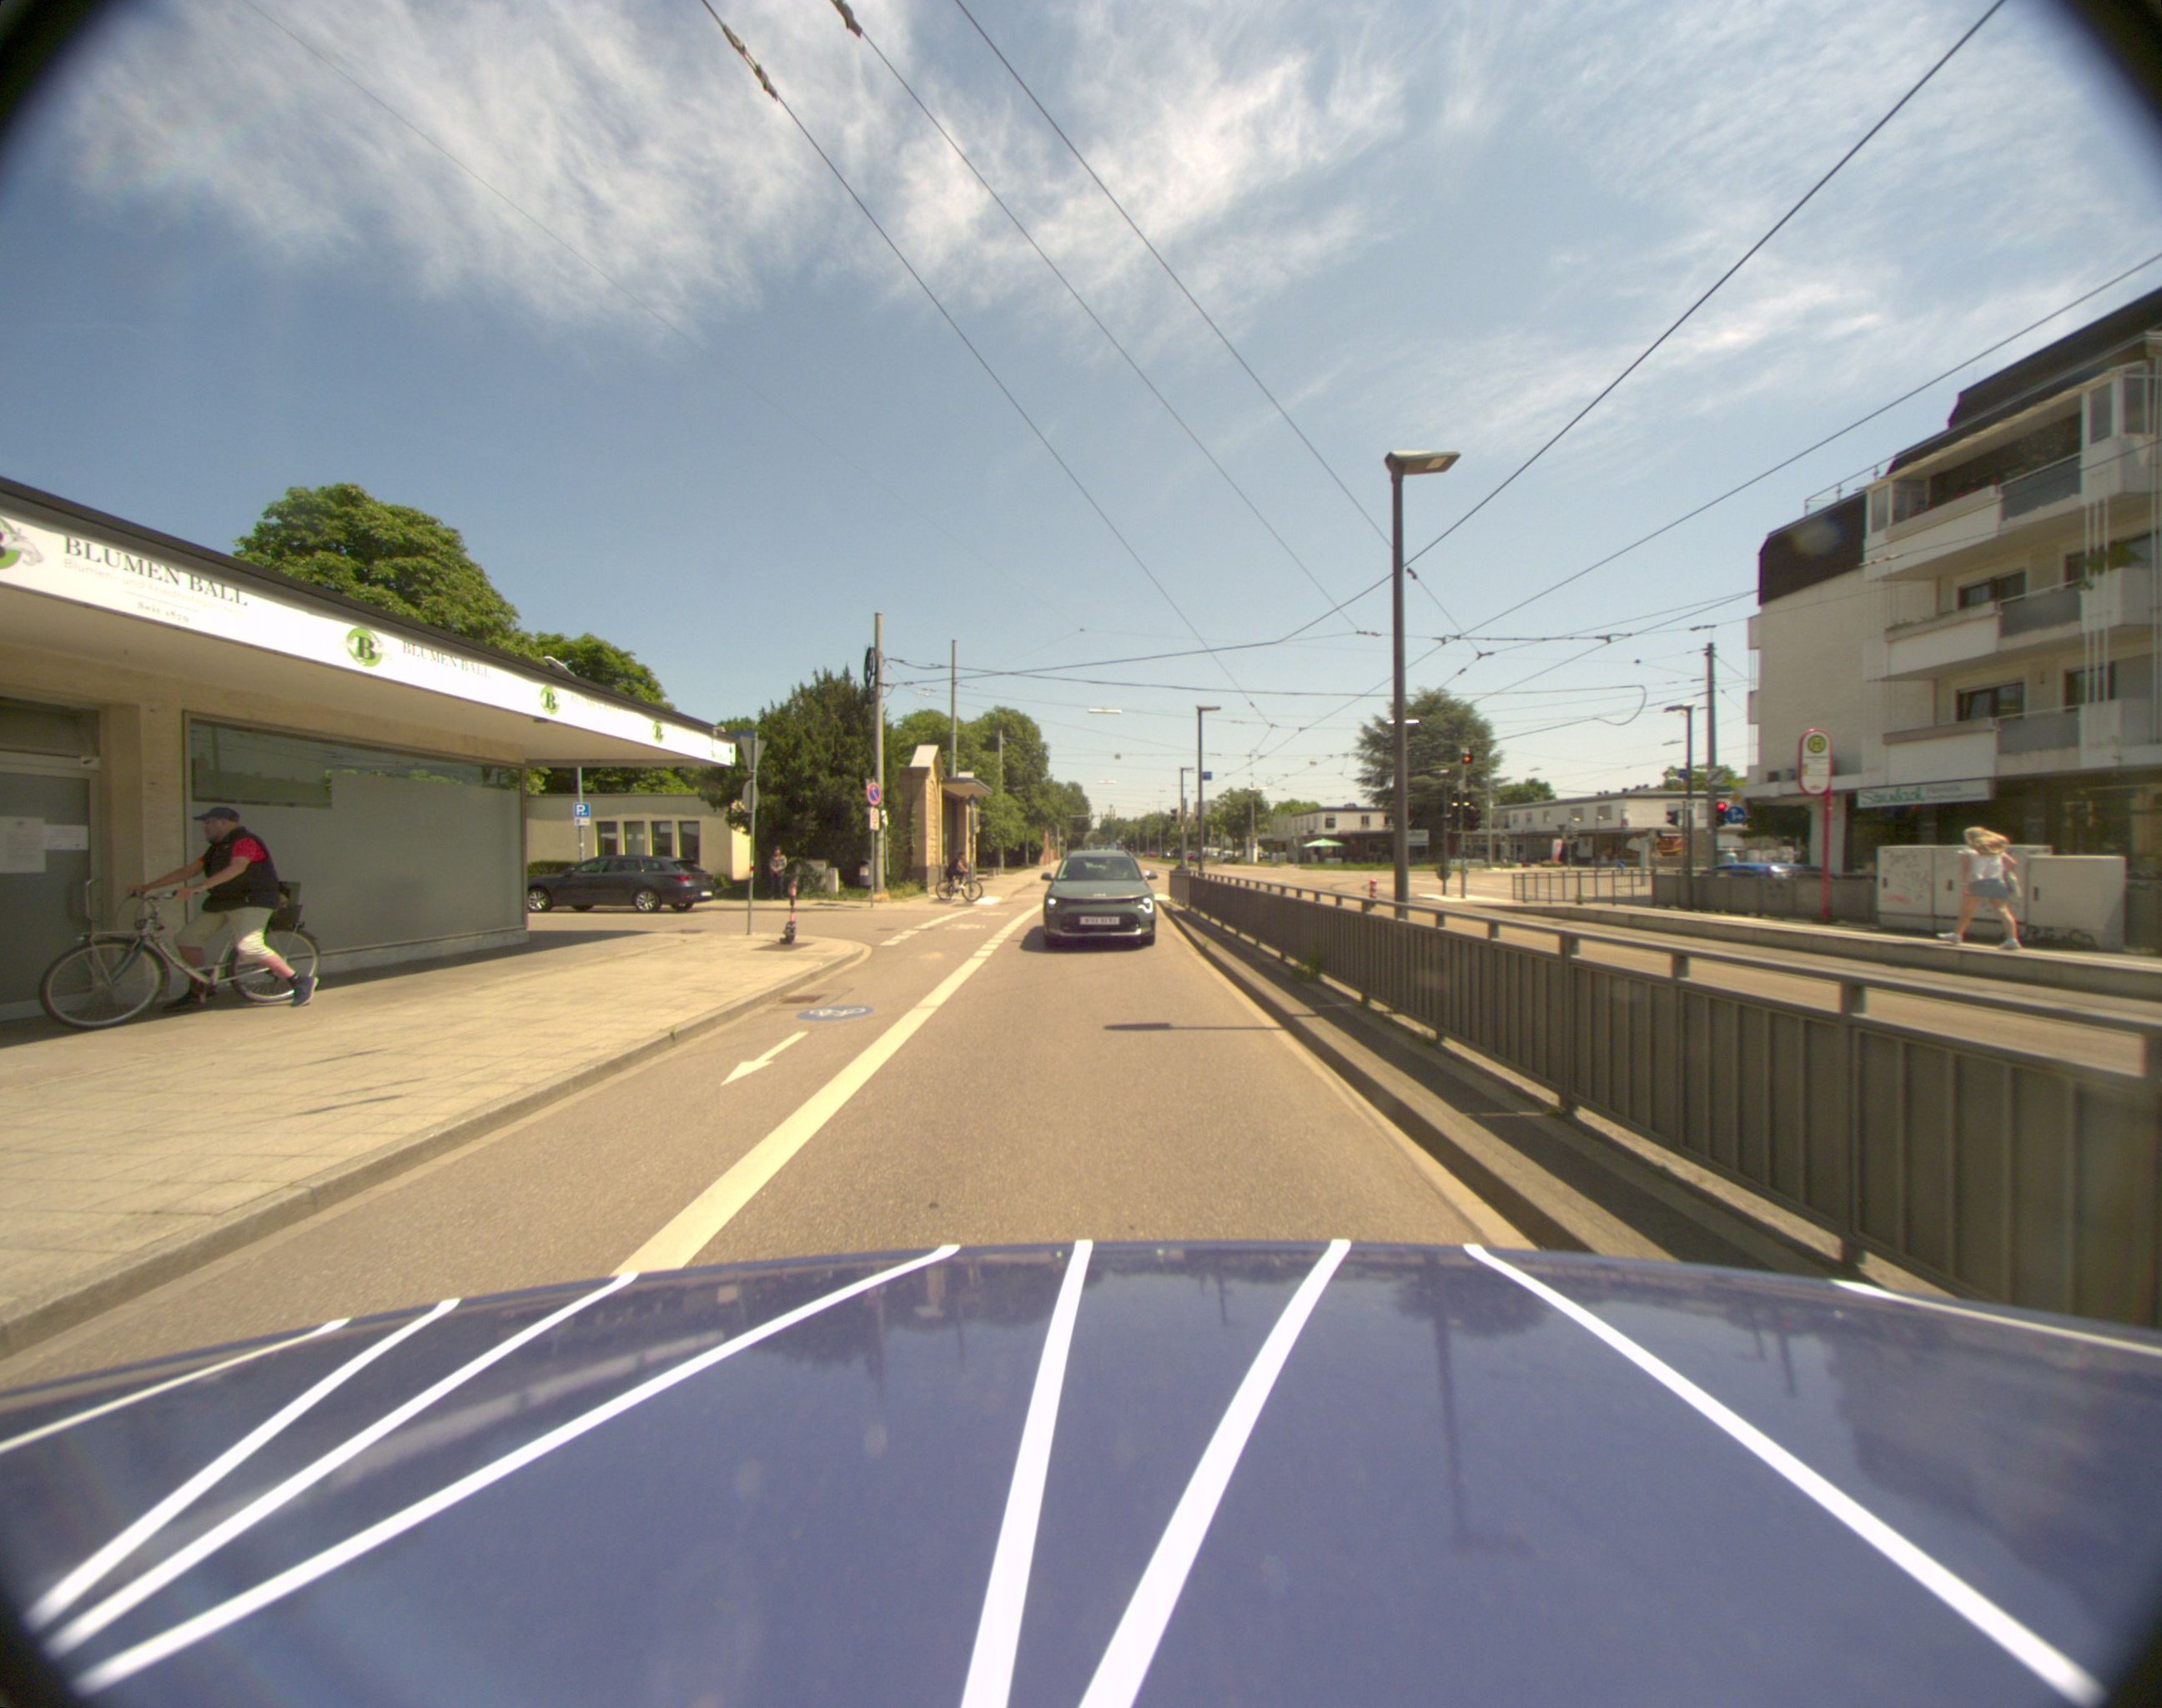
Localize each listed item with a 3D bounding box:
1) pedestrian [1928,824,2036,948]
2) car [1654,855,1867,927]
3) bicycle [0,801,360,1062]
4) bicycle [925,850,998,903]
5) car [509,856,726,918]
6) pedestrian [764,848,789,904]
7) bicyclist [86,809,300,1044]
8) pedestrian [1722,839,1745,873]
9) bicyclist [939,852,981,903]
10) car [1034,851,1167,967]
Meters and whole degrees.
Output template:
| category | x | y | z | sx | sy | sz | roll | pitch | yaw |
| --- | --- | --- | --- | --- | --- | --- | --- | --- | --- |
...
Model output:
| category | x | y | z | sx | sy | sz | roll | pitch | yaw |
| --- | --- | --- | --- | --- | --- | --- | --- | --- | --- |
| pedestrian | 12.165 | 0.421 | 10.281 | 0.597 | 1.615 | 0.676 | 1 | 1 | 1 |
| car | 16.427 | 0.810 | 18.668 | 1.696 | 1.477 | 4.000 | -2 | 1 | 1 |
| bicycle | -7.655 | 0.567 | 6.568 | 0.800 | 1.889 | 1.959 | 2 | 0 | 8 |
| bicycle | -3.897 | 0.741 | 24.822 | 2.054 | 1.580 | 0.888 | 4 | 1 | -31 |
| car | -11.535 | 0.801 | 19.084 | 4.462 | 1.449 | 1.595 | 1 | 0 | 0 |
| pedestrian | -8.817 | 0.615 | 21.998 | 0.536 | 1.589 | 0.425 | -2 | 1 | -13 |
| bicyclist | -7.653 | 0.583 | 6.594 | 0.790 | 1.864 | 0.888 | 2 | 1 | 7 |
| pedestrian | 33.362 | 0.089 | 38.867 | 0.577 | 1.705 | 0.646 | 1 | 1 | 1 |
| bicyclist | -3.948 | 0.770 | 24.791 | 0.988 | 1.569 | 0.866 | 3 | 1 | -31 |
| car | 0.323 | 0.752 | 12.752 | 1.827 | 1.547 | 4.487 | -1 | 1 | 1 |
